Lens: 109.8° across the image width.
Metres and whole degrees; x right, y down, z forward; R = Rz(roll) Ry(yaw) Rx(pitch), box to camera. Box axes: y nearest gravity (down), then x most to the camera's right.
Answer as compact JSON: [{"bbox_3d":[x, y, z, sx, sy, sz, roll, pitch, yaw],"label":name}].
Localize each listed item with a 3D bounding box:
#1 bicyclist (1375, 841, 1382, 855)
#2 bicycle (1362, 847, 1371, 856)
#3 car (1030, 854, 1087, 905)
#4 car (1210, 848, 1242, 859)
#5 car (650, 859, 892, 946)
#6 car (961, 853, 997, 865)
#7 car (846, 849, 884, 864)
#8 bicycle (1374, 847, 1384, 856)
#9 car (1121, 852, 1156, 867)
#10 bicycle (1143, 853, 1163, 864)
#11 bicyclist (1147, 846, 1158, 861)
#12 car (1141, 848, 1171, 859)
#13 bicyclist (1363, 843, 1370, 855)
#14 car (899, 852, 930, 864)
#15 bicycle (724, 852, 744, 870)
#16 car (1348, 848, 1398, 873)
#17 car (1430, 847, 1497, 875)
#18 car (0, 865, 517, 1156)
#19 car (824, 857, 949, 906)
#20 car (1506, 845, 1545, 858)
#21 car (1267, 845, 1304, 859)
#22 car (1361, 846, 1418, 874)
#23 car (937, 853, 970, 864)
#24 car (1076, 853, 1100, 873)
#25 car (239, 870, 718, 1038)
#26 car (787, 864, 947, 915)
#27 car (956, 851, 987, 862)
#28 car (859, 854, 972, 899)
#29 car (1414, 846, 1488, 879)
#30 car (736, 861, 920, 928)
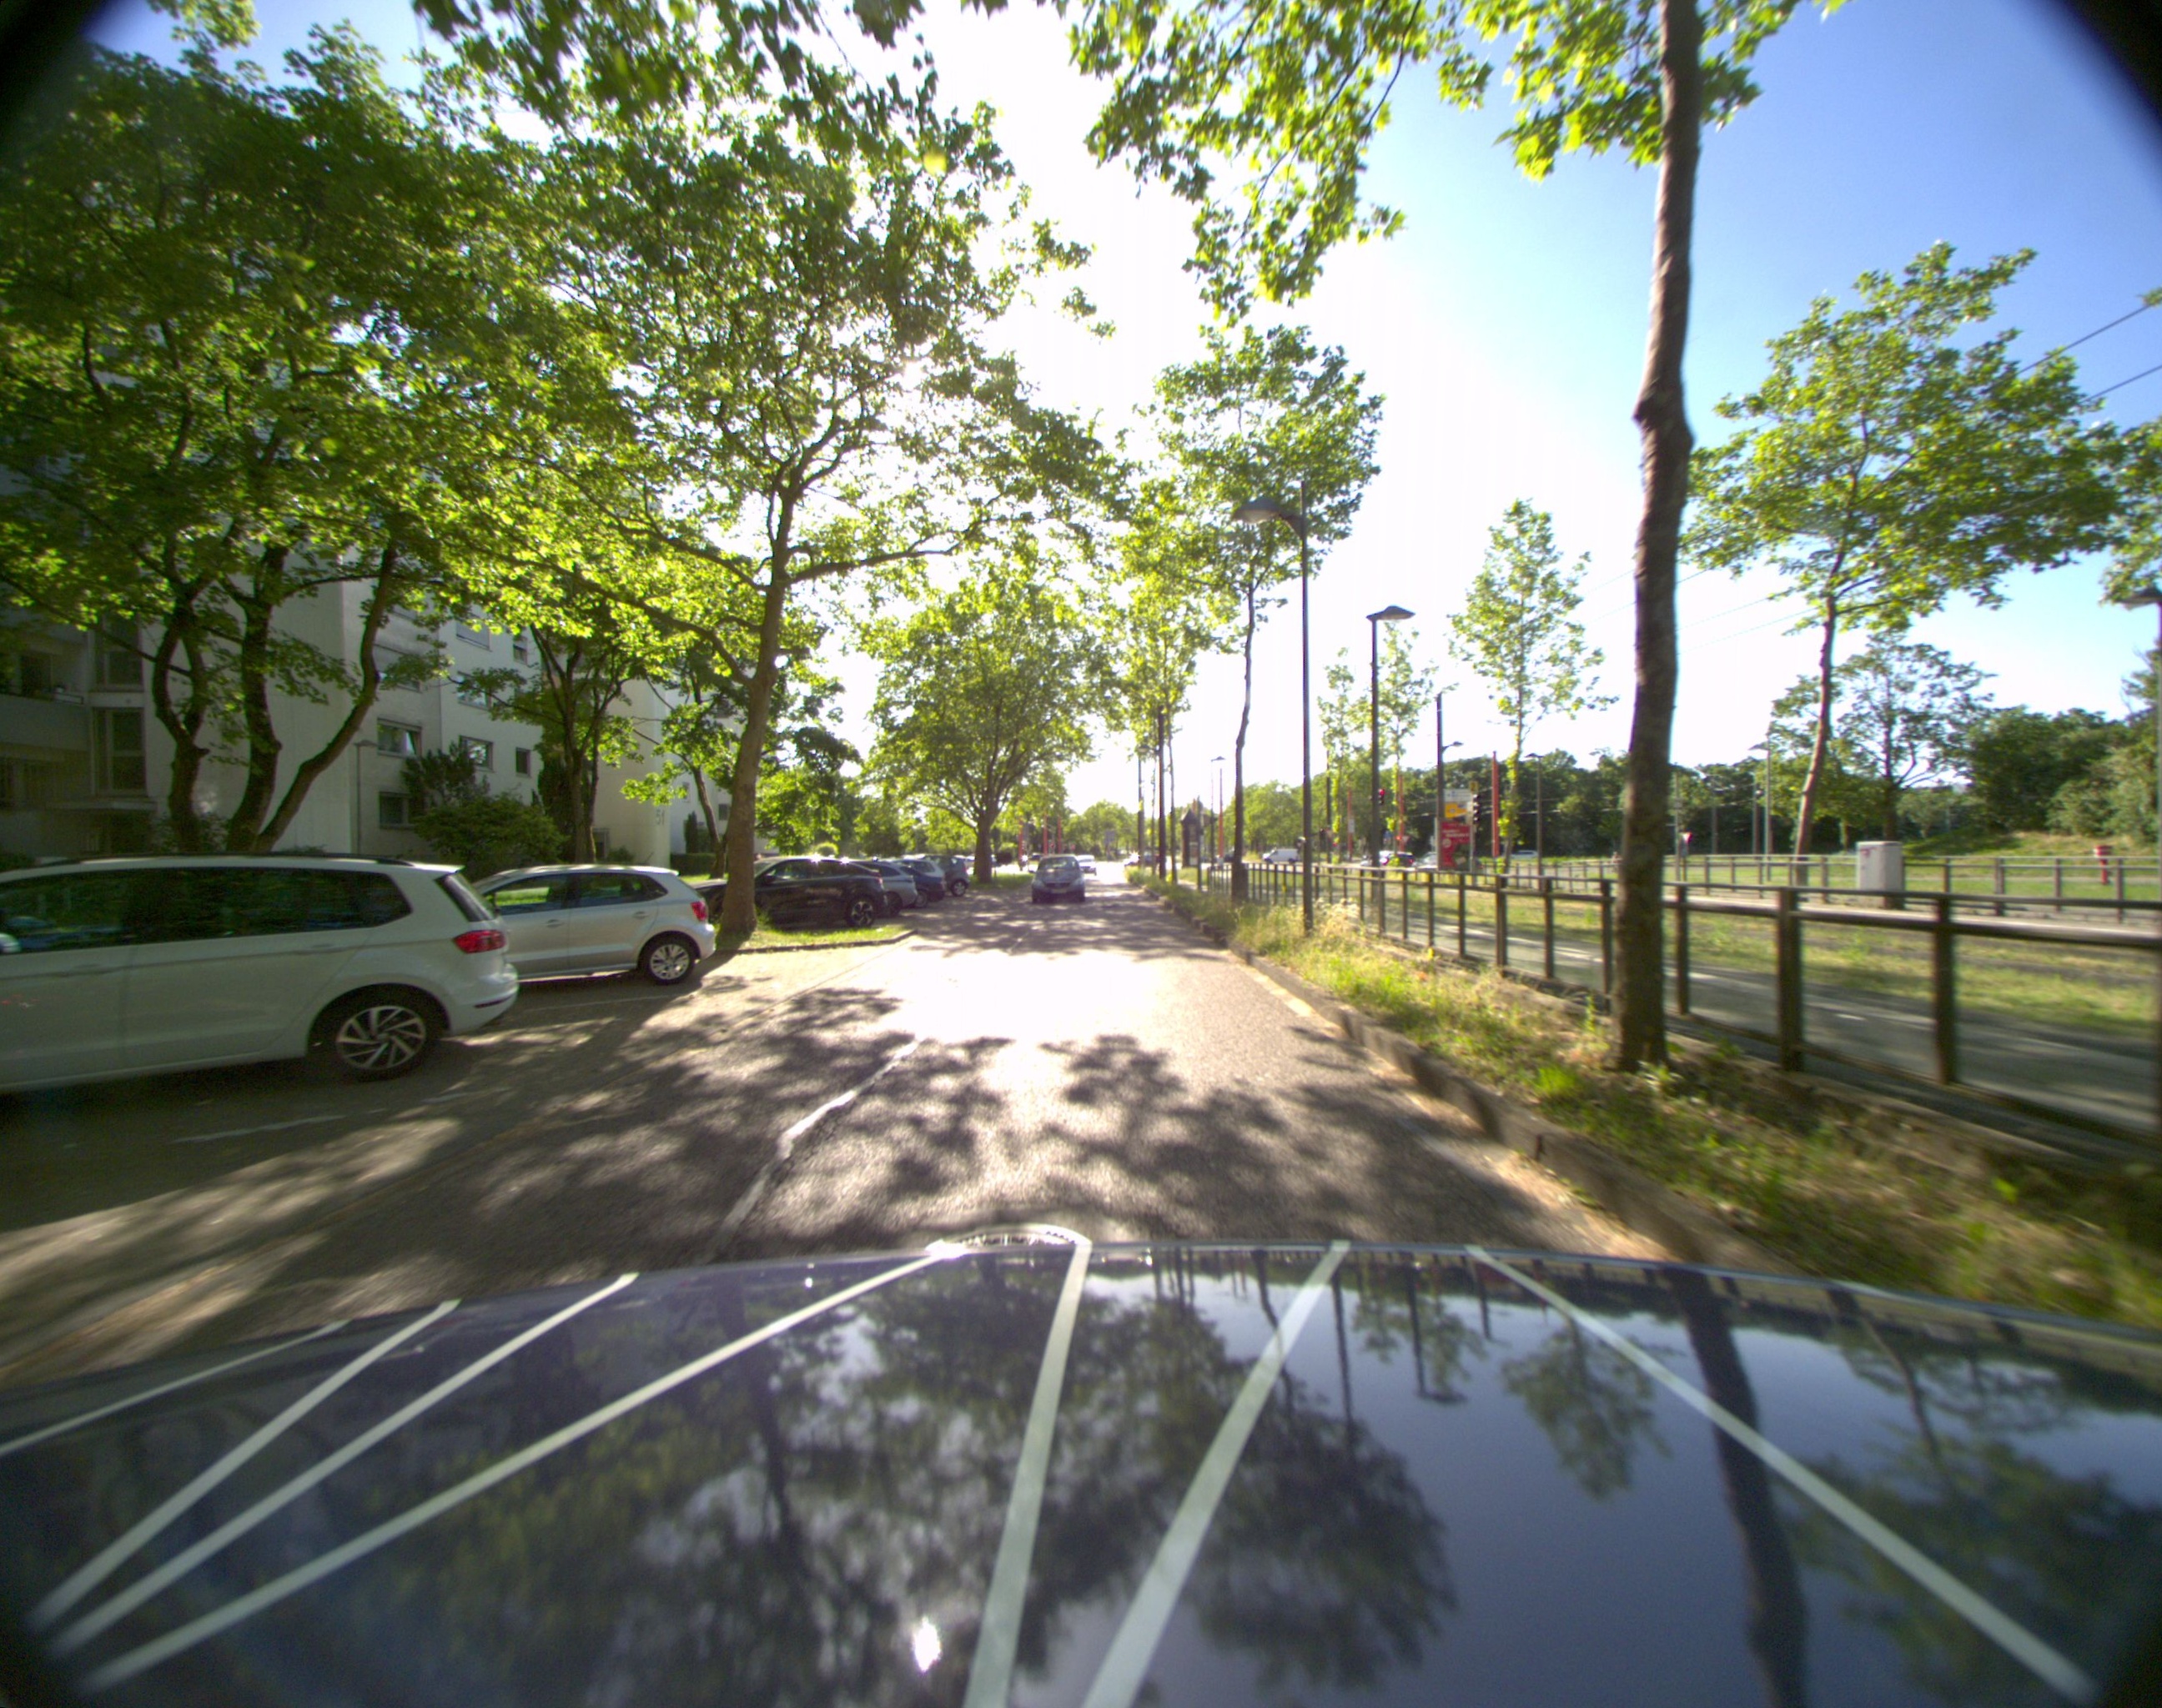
[{"bbox_3d":[35.306,-0.691,90.139,0.562,1.642,0.714,-1,1,3],"label":"bicyclist"},{"bbox_3d":[33.894,-0.276,90.166,0.499,1.101,1.800,-1,1,3],"label":"bicycle"},{"bbox_3d":[-0.707,0.812,26.523,1.799,1.580,3.763,-1,1,1],"label":"car"},{"bbox_3d":[19.787,-0.082,103.895,3.989,1.501,1.803,0,0,27],"label":"car"},{"bbox_3d":[-6.155,0.872,15.437,1.795,1.501,4.186,1,0,44],"label":"car"},{"bbox_3d":[-12.868,0.648,95.827,4.274,1.473,1.803,0,2,29],"label":"car"},{"bbox_3d":[-31.132,0.308,109.433,5.180,2.075,2.096,0,2,29],"label":"car"},{"bbox_3d":[35.325,-0.300,90.135,0.562,1.101,1.800,-1,1,3],"label":"bicycle"},{"bbox_3d":[6.240,0.538,82.063,1.785,1.501,4.635,-1,0,32],"label":"car"},{"bbox_3d":[7.250,0.428,76.841,1.896,1.101,0.704,-1,1,24],"label":"bicycle"},{"bbox_3d":[7.245,-0.043,76.827,0.955,1.469,0.704,-1,1,24],"label":"bicyclist"},{"bbox_3d":[11.139,-0.061,112.874,3.989,1.501,1.803,0,0,27],"label":"car"},{"bbox_3d":[33.890,-0.568,90.159,0.499,1.439,0.778,-1,1,3],"label":"bicyclist"},{"bbox_3d":[-23.103,0.577,105.282,3.989,1.497,1.803,0,2,29],"label":"car"},{"bbox_3d":[-22.611,0.427,49.536,0.500,1.101,1.799,4,0,-5],"label":"bicycle"},{"bbox_3d":[19.413,0.421,50.748,1.798,1.607,4.233,-1,0,1],"label":"car"},{"bbox_3d":[21.998,0.360,43.913,1.798,1.501,4.267,-1,1,1],"label":"car"},{"bbox_3d":[-6.318,0.885,5.083,4.008,1.567,1.795,0,0,-39],"label":"car"},{"bbox_3d":[-6.435,0.867,25.253,3.591,1.483,1.795,0,0,-41],"label":"car"},{"bbox_3d":[52.910,-0.277,90.521,3.989,1.501,1.803,0,0,27],"label":"car"},{"bbox_3d":[27.920,-0.294,103.885,4.545,1.825,1.803,0,0,27],"label":"car"},{"bbox_3d":[18.448,0.319,45.670,1.798,1.607,4.233,-1,1,1],"label":"car"},{"bbox_3d":[-17.032,0.565,101.486,3.989,1.384,1.803,0,2,29],"label":"car"},{"bbox_3d":[0.549,0.685,61.550,1.799,1.530,3.999,-2,0,-1],"label":"car"},{"bbox_3d":[-6.609,0.943,8.809,4.008,1.436,1.795,0,0,-40],"label":"car"},{"bbox_3d":[-6.198,0.969,22.240,4.155,1.310,1.795,0,0,-40],"label":"car"},{"bbox_3d":[-15.168,0.369,105.398,3.989,1.502,1.803,0,2,29],"label":"car"},{"bbox_3d":[-6.187,0.801,28.612,3.734,1.583,1.795,0,0,-40],"label":"car"},{"bbox_3d":[18.817,0.383,38.891,1.798,1.598,4.267,-1,1,1],"label":"car"},{"bbox_3d":[-6.159,0.909,18.712,3.896,1.437,1.795,0,0,-43],"label":"car"}]
